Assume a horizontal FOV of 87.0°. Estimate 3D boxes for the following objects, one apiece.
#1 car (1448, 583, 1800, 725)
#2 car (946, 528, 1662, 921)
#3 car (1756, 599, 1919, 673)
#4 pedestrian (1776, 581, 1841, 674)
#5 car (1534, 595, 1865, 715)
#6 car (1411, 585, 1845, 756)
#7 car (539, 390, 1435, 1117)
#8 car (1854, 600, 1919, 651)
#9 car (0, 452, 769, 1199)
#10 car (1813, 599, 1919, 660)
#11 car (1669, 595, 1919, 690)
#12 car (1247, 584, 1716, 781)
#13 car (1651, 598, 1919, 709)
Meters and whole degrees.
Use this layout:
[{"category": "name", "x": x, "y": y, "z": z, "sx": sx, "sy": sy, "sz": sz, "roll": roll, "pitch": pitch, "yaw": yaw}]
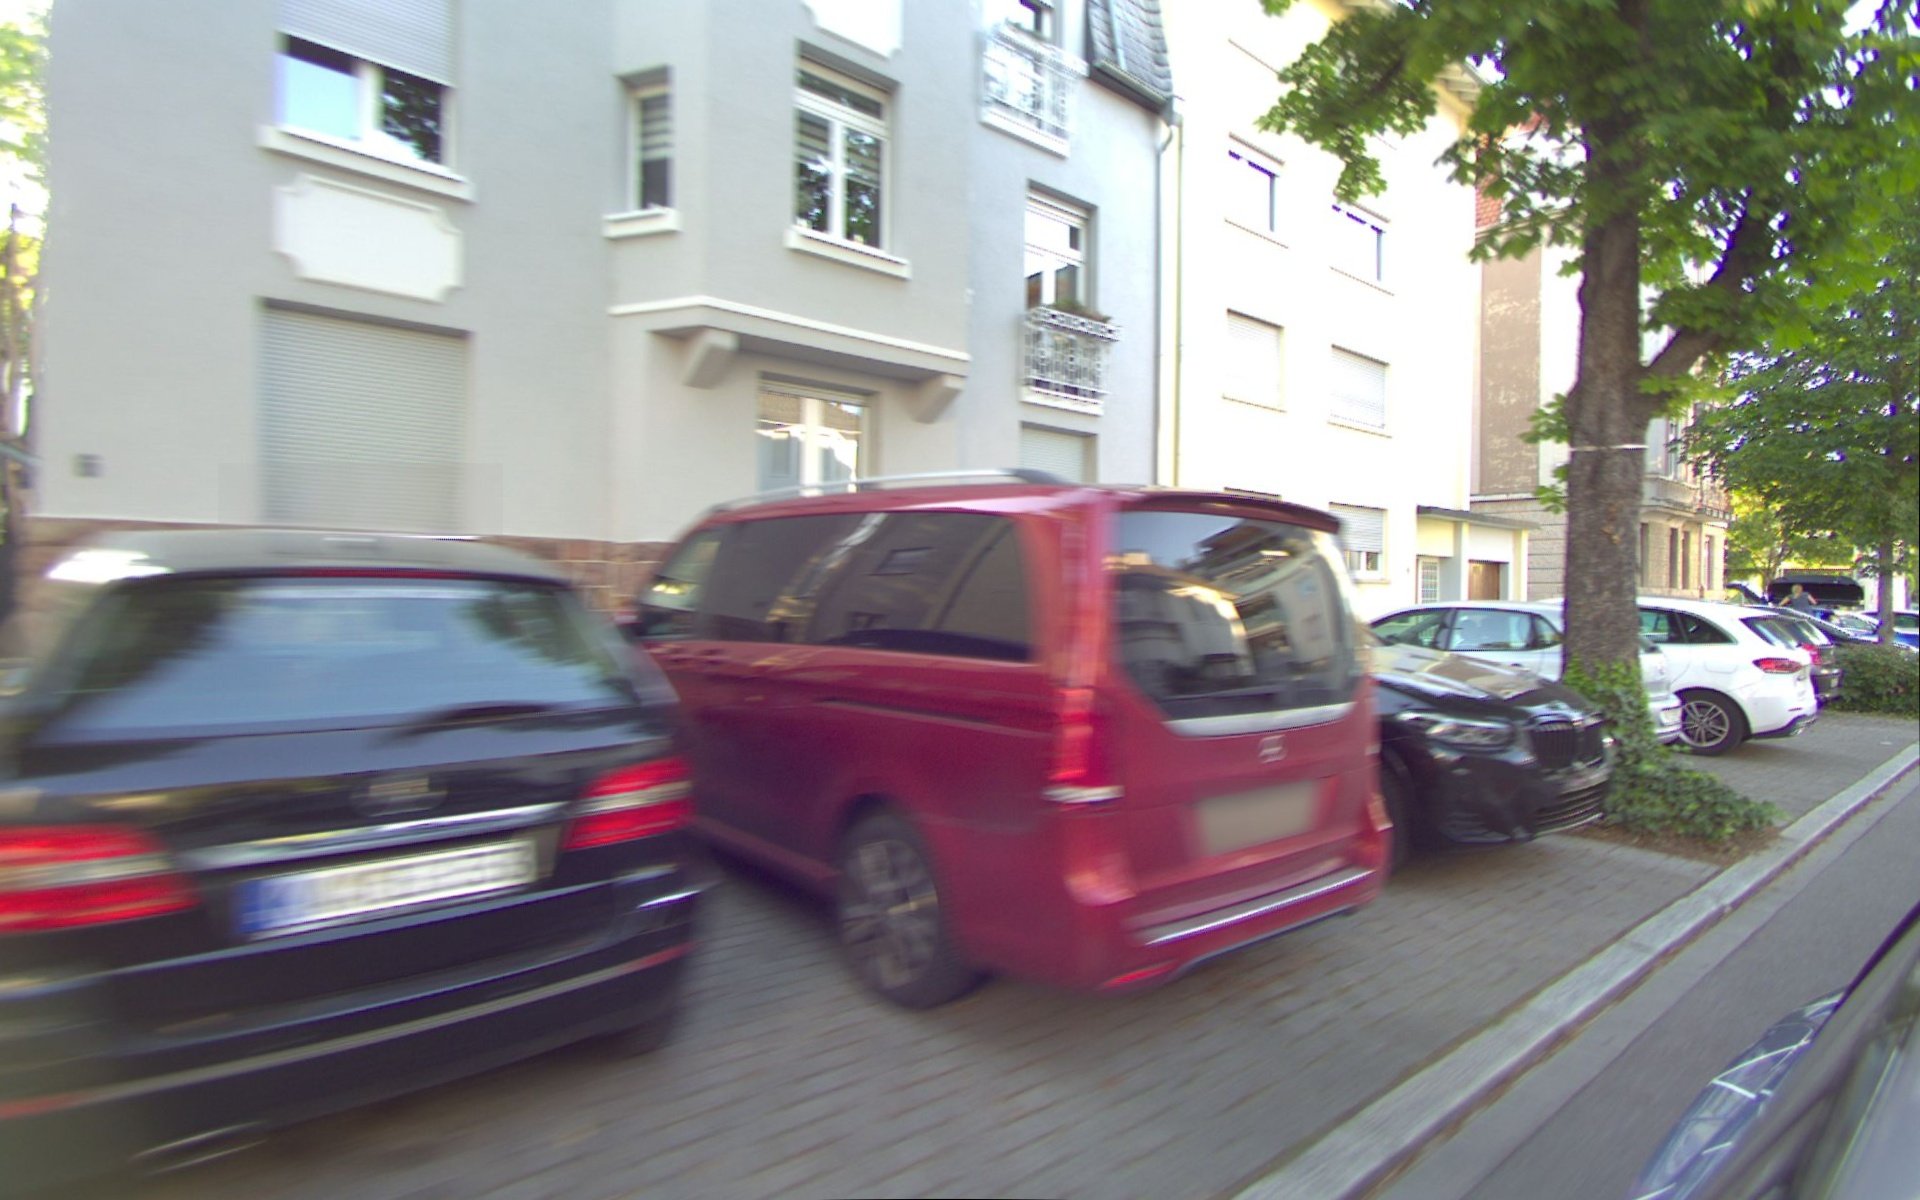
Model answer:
[{"category": "car", "x": 8.859, "y": 0.609, "z": 13.734, "sx": 1.646, "sy": 1.618, "sz": 3.679, "roll": 1, "pitch": 1, "yaw": -40}, {"category": "car", "x": 1.856, "y": 0.502, "z": 6.671, "sx": 1.758, "sy": 1.726, "sz": 4.211, "roll": 1, "pitch": 1, "yaw": -36}, {"category": "car", "x": 20.487, "y": 0.786, "z": 22.751, "sx": 1.573, "sy": 1.504, "sz": 3.824, "roll": 1, "pitch": 1, "yaw": -40}, {"category": "pedestrian", "x": 19.210, "y": 0.594, "z": 22.911, "sx": 0.964, "sy": 2.039, "sz": 0.998, "roll": 1, "pitch": 0, "yaw": -43}, {"category": "car", "x": 10.799, "y": 0.708, "z": 14.980, "sx": 1.573, "sy": 1.460, "sz": 3.679, "roll": 1, "pitch": 1, "yaw": -40}, {"category": "car", "x": 7.199, "y": 0.632, "z": 11.192, "sx": 1.646, "sy": 1.516, "sz": 3.679, "roll": 1, "pitch": 1, "yaw": -40}, {"category": "car", "x": -0.415, "y": 0.362, "z": 5.213, "sx": 1.915, "sy": 1.961, "sz": 4.818, "roll": 1, "pitch": 1, "yaw": -39}, {"category": "car", "x": 29.935, "y": 0.819, "z": 30.868, "sx": 1.573, "sy": 1.504, "sz": 3.824, "roll": 1, "pitch": 1, "yaw": -40}, {"category": "car", "x": -2.403, "y": 0.512, "z": 3.698, "sx": 1.657, "sy": 1.623, "sz": 3.902, "roll": 1, "pitch": 1, "yaw": -40}, {"category": "car", "x": 24.551, "y": 0.767, "z": 26.114, "sx": 3.815, "sy": 1.504, "sz": 1.577, "roll": 2, "pitch": 1, "yaw": 43}, {"category": "car", "x": 15.602, "y": 0.713, "z": 18.697, "sx": 1.573, "sy": 1.504, "sz": 3.824, "roll": 1, "pitch": 1, "yaw": -40}, {"category": "car", "x": 4.812, "y": 0.619, "z": 9.739, "sx": 1.588, "sy": 1.480, "sz": 3.679, "roll": 1, "pitch": 1, "yaw": -40}, {"category": "car", "x": 13.049, "y": 0.746, "z": 15.583, "sx": 1.573, "sy": 1.460, "sz": 3.679, "roll": 1, "pitch": 1, "yaw": -40}]
